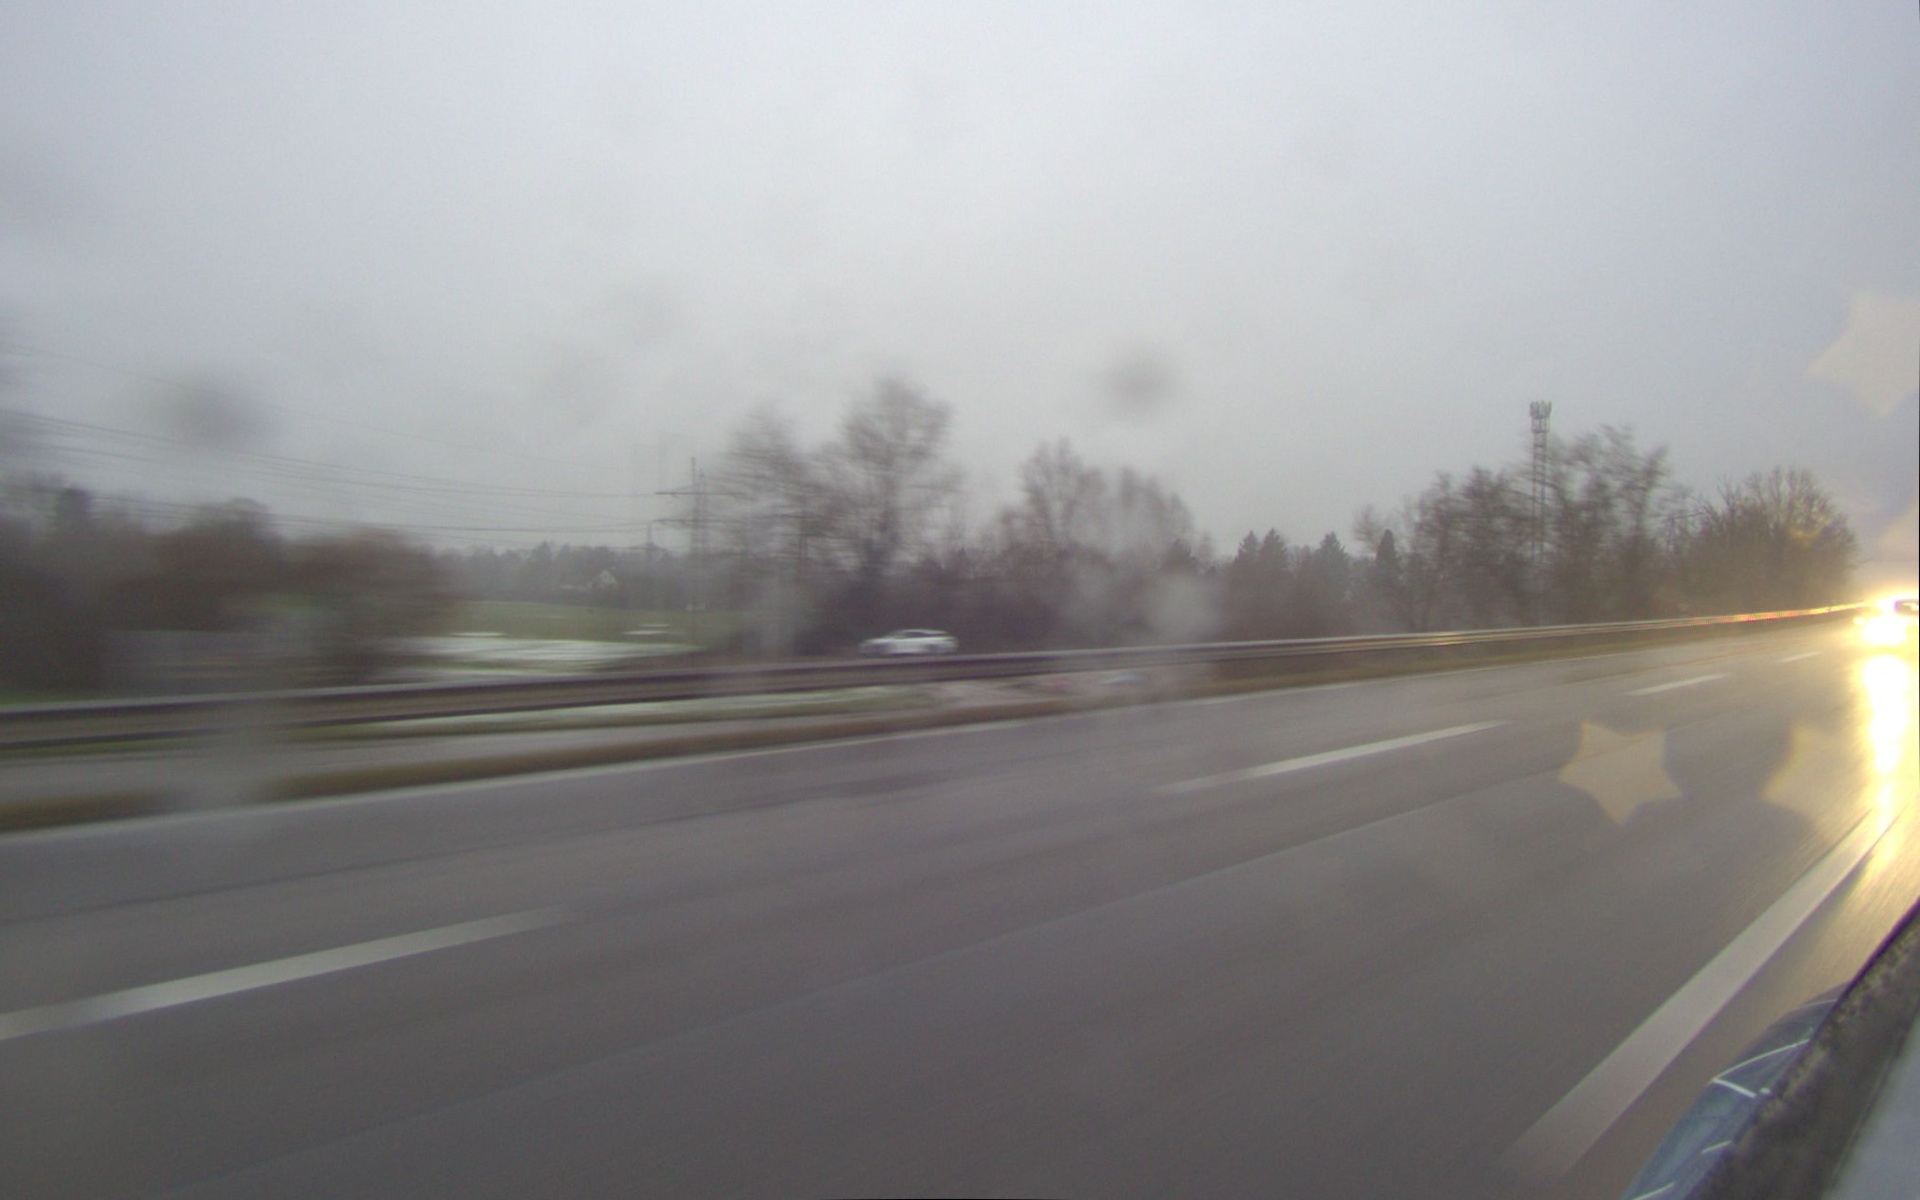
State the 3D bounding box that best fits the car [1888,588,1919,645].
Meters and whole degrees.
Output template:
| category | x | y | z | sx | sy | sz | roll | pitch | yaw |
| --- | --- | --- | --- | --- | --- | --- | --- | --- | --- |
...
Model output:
| category | x | y | z | sx | sy | sz | roll | pitch | yaw |
| --- | --- | --- | --- | --- | --- | --- | --- | --- | --- |
| car | 27.262 | 0.468 | 28.182 | 3.932 | 1.522 | 1.799 | 1 | -1 | -43 |
